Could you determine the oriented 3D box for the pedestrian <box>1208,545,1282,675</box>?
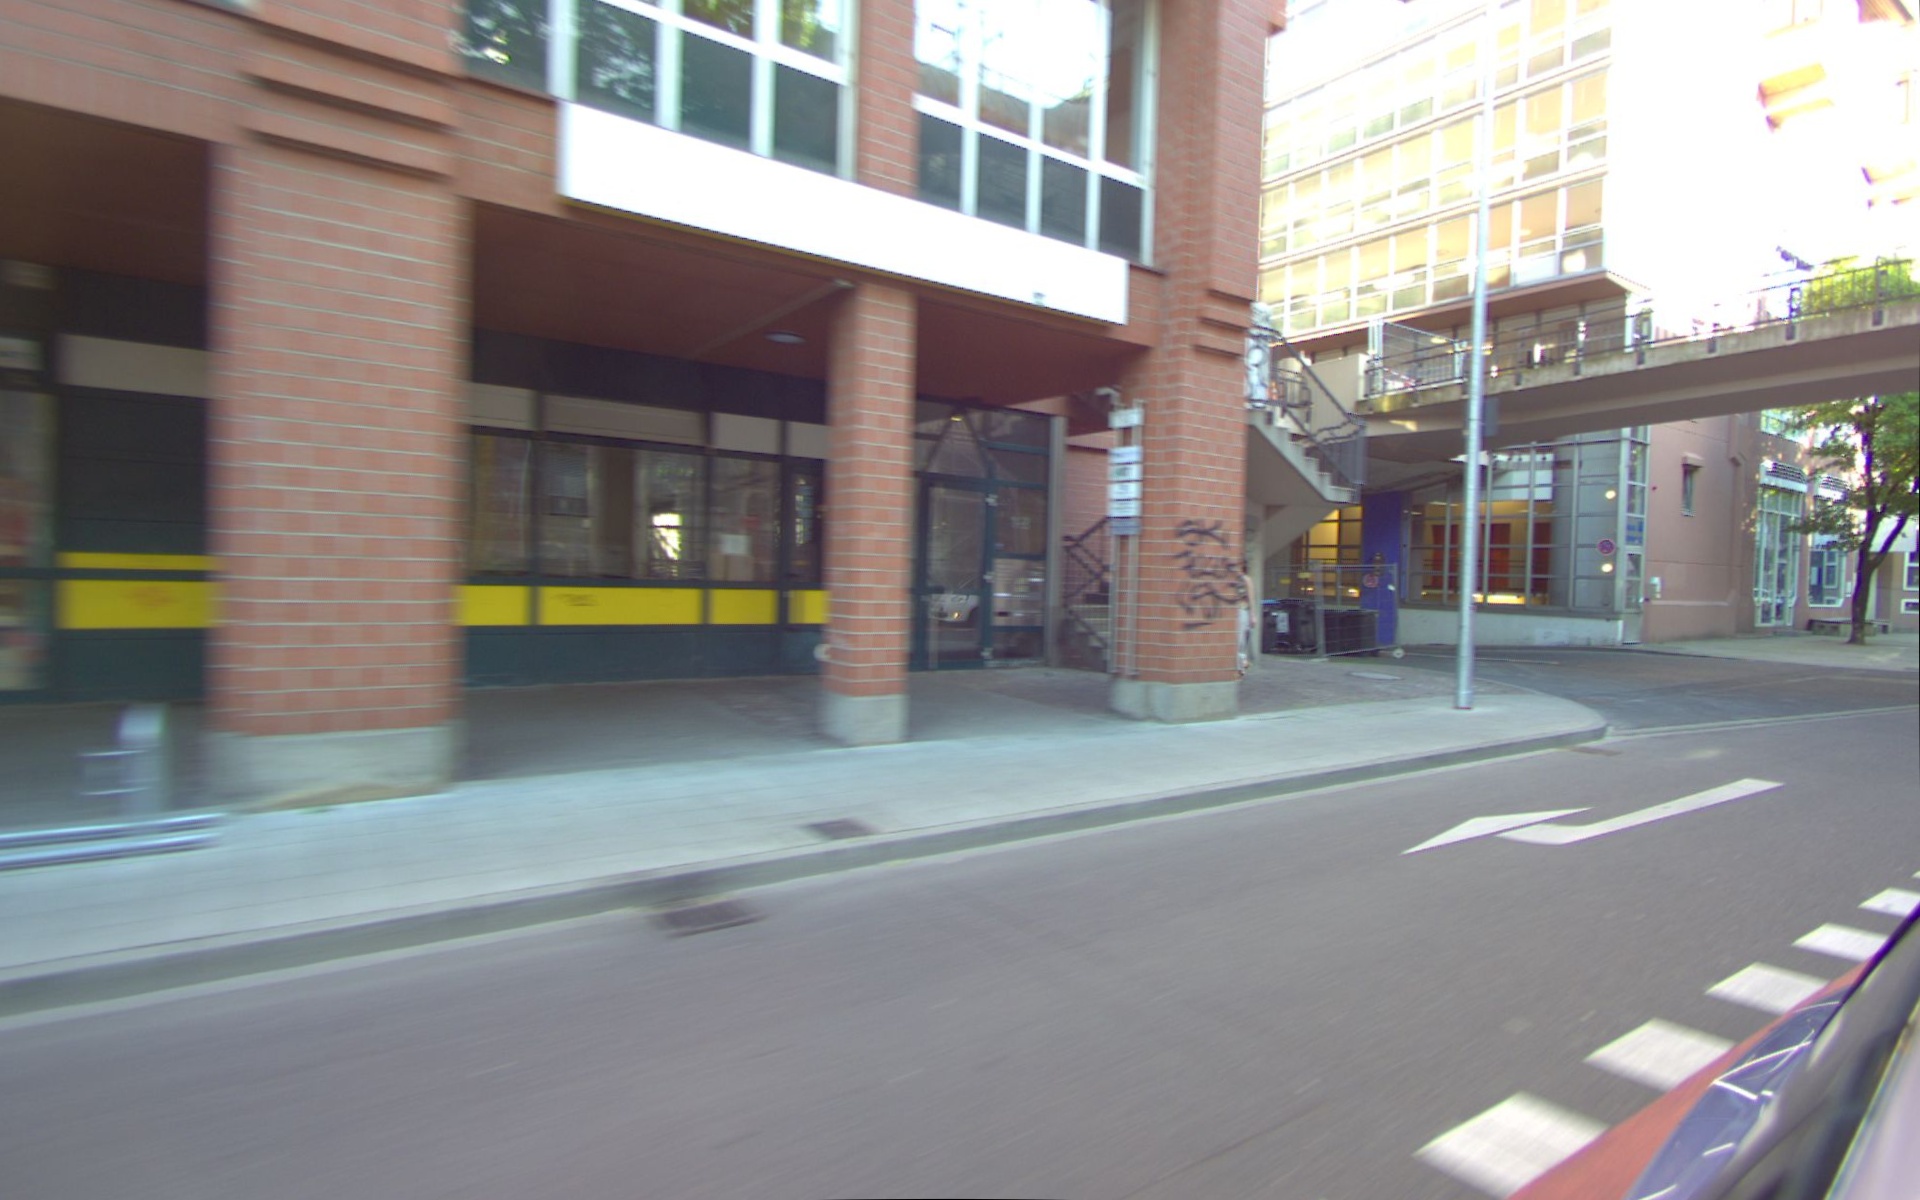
[{"bbox_3d":[3.756,0.120,13.341,0.763,1.653,0.571,0,1,-36],"label":"pedestrian"}]
